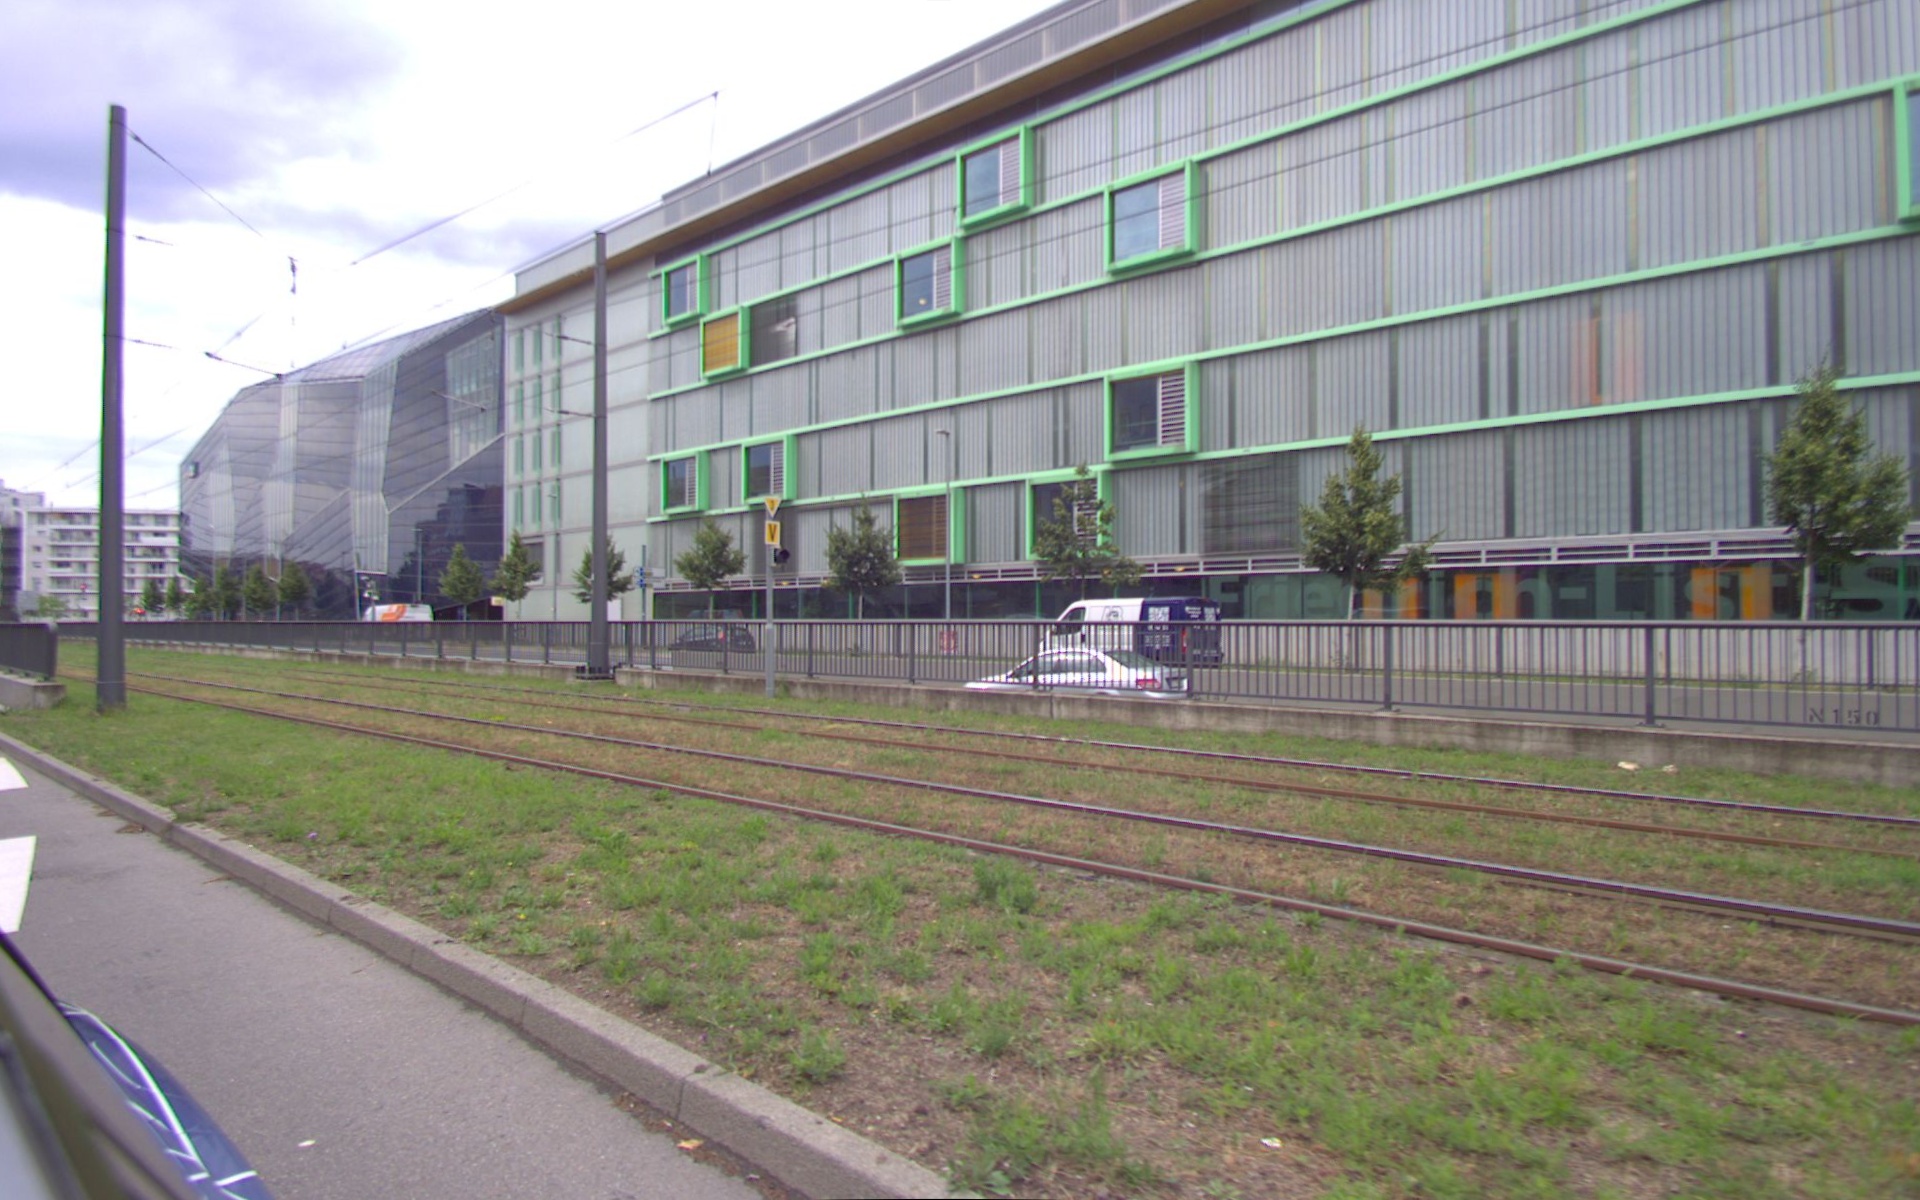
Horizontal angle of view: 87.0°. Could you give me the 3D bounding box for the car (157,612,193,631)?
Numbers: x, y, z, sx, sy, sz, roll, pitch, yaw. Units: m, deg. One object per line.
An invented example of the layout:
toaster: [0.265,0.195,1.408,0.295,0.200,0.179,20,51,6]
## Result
car: [-75.119,2.090,96.808,4.766,1.605,1.972,-4,-3,43]

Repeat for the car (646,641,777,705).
car: [-9.185,2.710,37.171,4.964,2.029,1.974,-6,-4,38]

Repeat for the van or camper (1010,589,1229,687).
van or camper: [4.088,0.969,26.549,5.355,2.304,2.150,-1,-2,41]

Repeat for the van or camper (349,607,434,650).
van or camper: [-32.405,1.611,57.596,6.503,2.304,2.150,-2,-1,41]

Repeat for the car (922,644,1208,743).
car: [1.764,1.582,18.245,4.966,1.526,1.764,-2,-2,39]
